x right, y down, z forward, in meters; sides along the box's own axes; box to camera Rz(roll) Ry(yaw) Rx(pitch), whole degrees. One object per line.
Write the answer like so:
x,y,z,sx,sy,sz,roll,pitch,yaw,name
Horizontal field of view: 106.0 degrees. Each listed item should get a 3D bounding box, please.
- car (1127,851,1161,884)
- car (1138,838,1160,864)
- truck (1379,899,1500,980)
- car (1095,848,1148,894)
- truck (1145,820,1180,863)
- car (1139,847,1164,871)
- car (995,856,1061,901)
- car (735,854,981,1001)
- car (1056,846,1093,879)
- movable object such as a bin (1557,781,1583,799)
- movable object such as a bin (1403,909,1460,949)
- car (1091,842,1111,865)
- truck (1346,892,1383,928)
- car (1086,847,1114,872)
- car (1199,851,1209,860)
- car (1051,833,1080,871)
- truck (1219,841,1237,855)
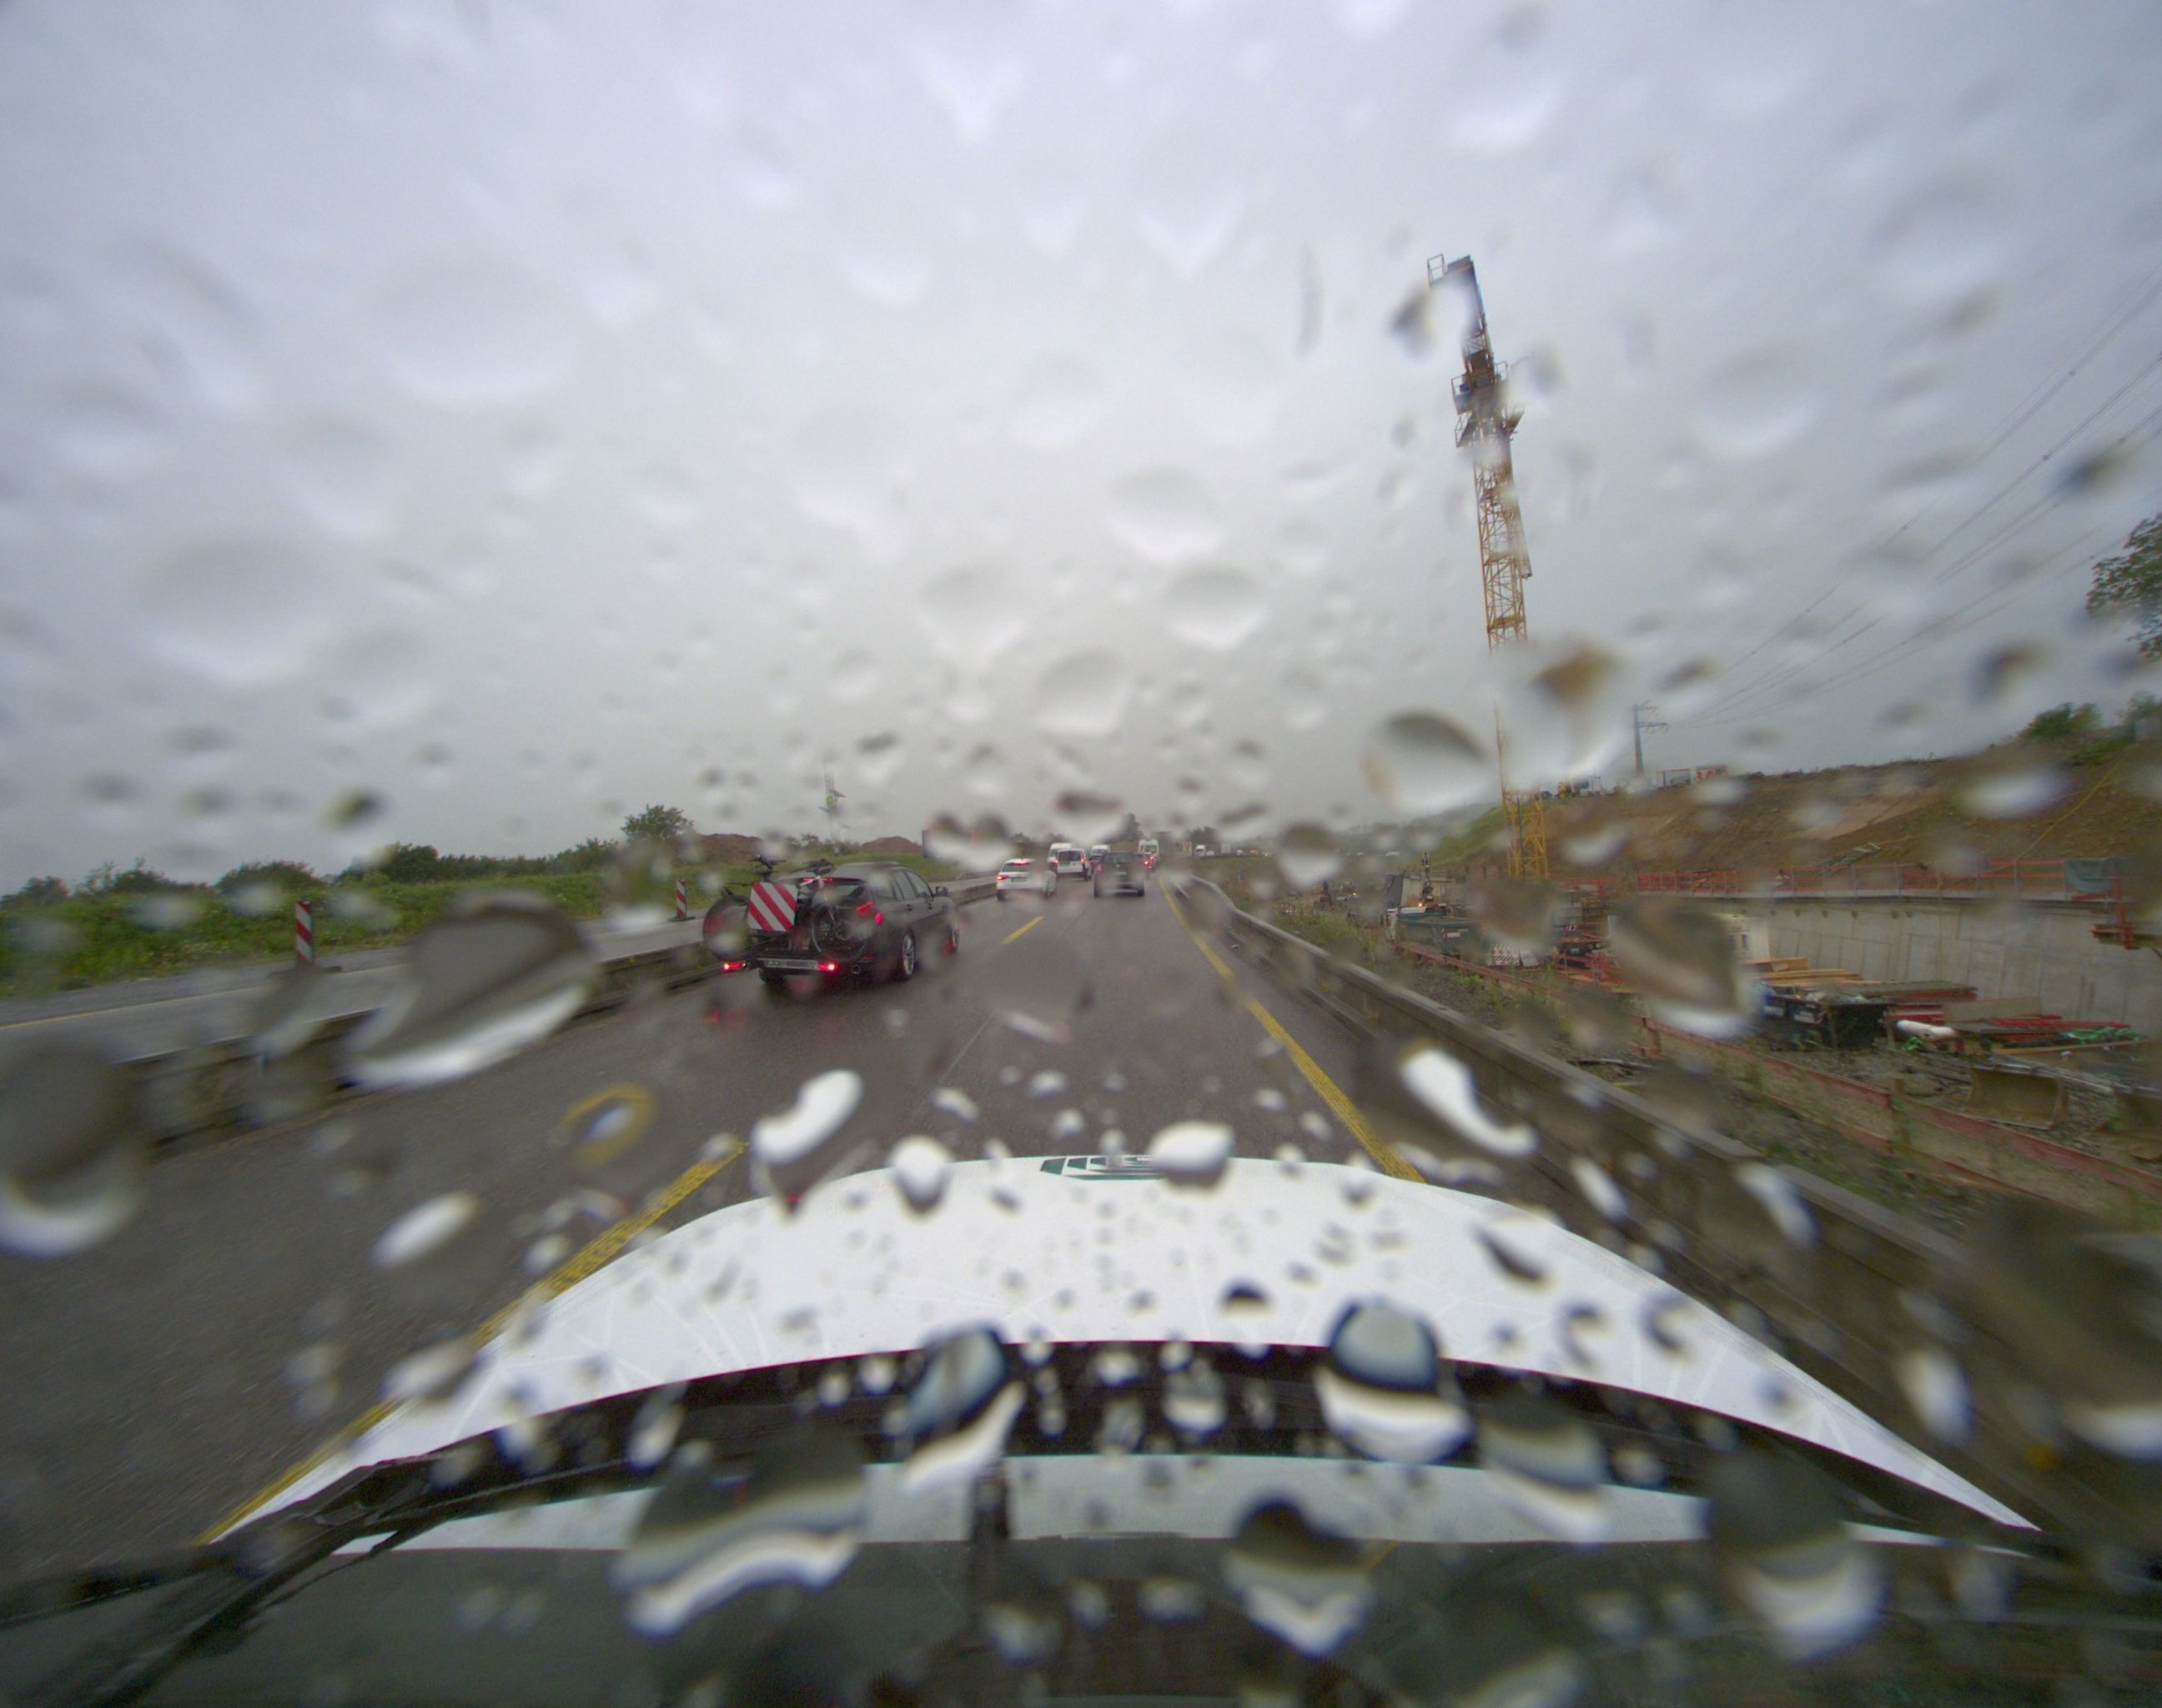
3.679,0.785,47.015,1.817,1.815,4.006,-1,-1,6,car
6.714,-0.224,79.901,1.815,2.437,4.168,-1,-1,9,car
19.034,4.411,43.995,2.690,3.503,8.948,-1,-1,1,truck
1.583,0.623,30.377,1.818,1.591,4.005,-1,-1,5,car
10.286,-1.421,101.663,3.522,5.077,10.468,-1,-1,9,truck
5.617,0.389,64.698,1.816,1.815,4.008,-1,-1,7,car
-1.835,0.849,29.533,1.818,1.499,4.005,-1,-1,4,car
-2.831,0.824,11.872,1.727,1.462,5.634,-1,1,3,car
-0.332,0.495,46.374,1.819,1.815,4.003,-1,-1,3,car
75.119,-9.837,125.150,2.411,2.443,3.984,-1,1,14,movable object such as a bin
25.975,5.519,60.493,3.133,2.738,2.974,-1,-1,7,movable object such as a bin
2.424,-0.116,96.709,2.015,2.548,5.965,-2,0,4,car
32.049,6.256,92.336,2.712,3.491,9.093,-1,-1,11,truck
1.544,0.450,63.470,1.817,1.815,4.007,-1,-1,6,car
30.314,0.353,200.437,2.019,2.256,4.176,-1,-1,16,car
-1.273,-0.160,68.796,1.985,3.013,5.785,-1,0,3,car
40.160,-1.741,222.427,3.443,3.715,8.459,-2,0,19,truck
